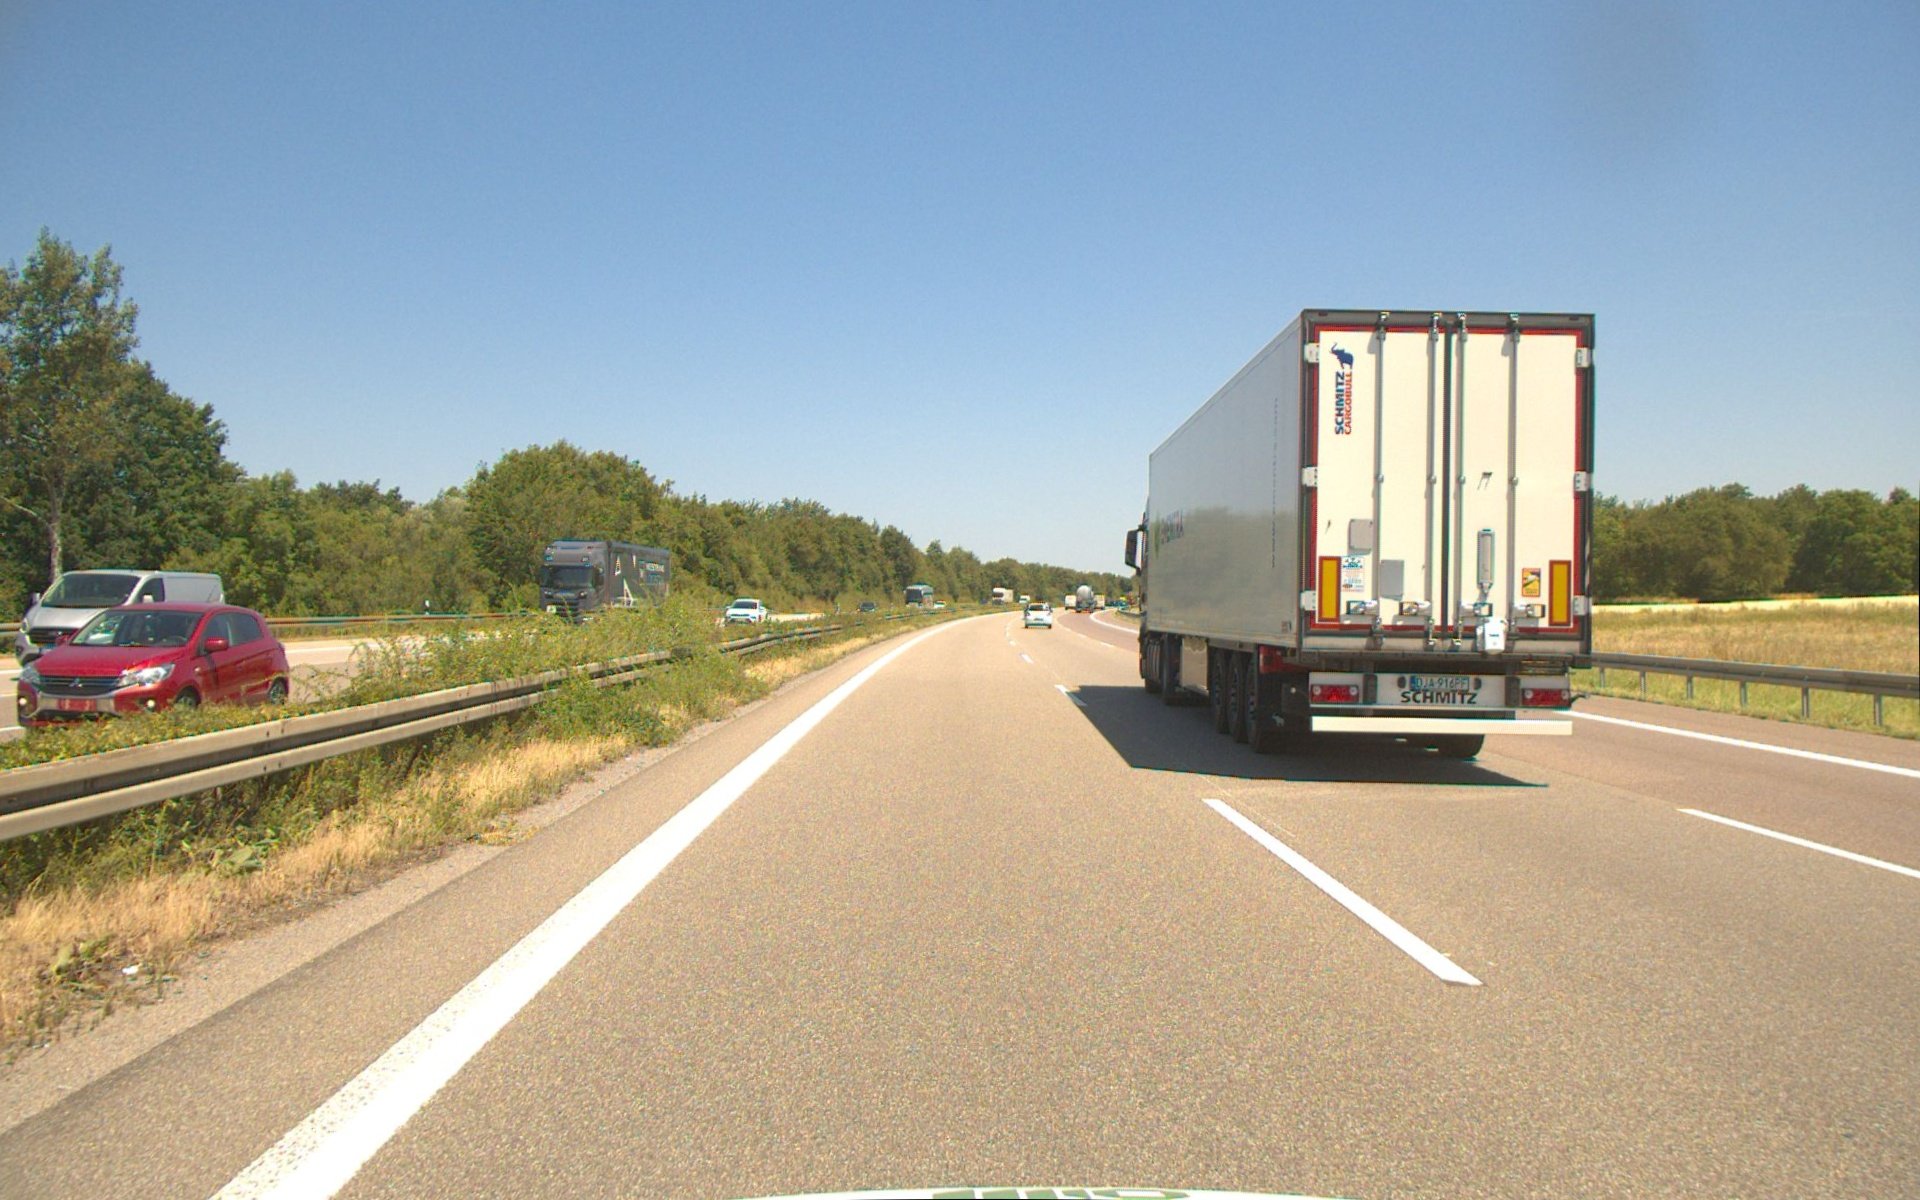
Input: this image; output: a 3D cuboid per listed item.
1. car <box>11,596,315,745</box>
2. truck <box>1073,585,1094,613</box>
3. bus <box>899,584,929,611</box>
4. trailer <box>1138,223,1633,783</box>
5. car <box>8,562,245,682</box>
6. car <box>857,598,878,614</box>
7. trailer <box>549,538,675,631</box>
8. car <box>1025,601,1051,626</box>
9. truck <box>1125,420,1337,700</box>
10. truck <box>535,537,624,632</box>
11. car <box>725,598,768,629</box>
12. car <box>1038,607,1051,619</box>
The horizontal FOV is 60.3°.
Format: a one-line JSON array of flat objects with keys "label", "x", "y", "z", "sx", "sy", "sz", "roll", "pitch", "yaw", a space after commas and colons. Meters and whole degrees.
[{"label": "car", "x": -9.039, "y": 0.734, "z": 19.159, "sx": 1.660, "sy": 1.518, "sz": 4.136, "roll": 0, "pitch": 0, "yaw": -3}, {"label": "truck", "x": 18.558, "y": -0.104, "z": 248.138, "sx": 2.681, "sy": 4.123, "sz": 10.461, "roll": 0, "pitch": 0, "yaw": 7}, {"label": "bus", "x": -6.707, "y": -0.337, "z": 242.086, "sx": 2.683, "sy": 3.772, "sz": 13.009, "roll": 1, "pitch": 0, "yaw": 6}, {"label": "trailer", "x": 4.389, "y": -0.825, "z": 21.122, "sx": 2.841, "sy": 4.739, "sz": 13.987, "roll": 1, "pitch": 0, "yaw": 1}, {"label": "car", "x": -15.808, "y": 0.392, "z": 31.752, "sx": 2.017, "sy": 2.107, "sz": 5.406, "roll": 0, "pitch": 0, "yaw": -3}, {"label": "car", "x": -9.096, "y": 0.618, "z": 163.695, "sx": 1.745, "sy": 1.544, "sz": 4.502, "roll": 0, "pitch": 0, "yaw": 1}, {"label": "trailer", "x": -16.181, "y": -0.649, "z": 78.224, "sx": 2.821, "sy": 4.017, "sz": 14.058, "roll": 0, "pitch": 0, "yaw": 1}, {"label": "car", "x": 4.911, "y": 0.842, "z": 103.569, "sx": 1.593, "sy": 1.505, "sz": 4.002, "roll": 0, "pitch": 0, "yaw": 3}, {"label": "truck", "x": 4.482, "y": -0.623, "z": 28.338, "sx": 2.848, "sy": 4.330, "sz": 4.975, "roll": 1, "pitch": 0, "yaw": 1}, {"label": "truck", "x": -16.283, "y": -0.639, "z": 71.024, "sx": 2.834, "sy": 3.984, "sz": 4.000, "roll": 0, "pitch": 0, "yaw": 1}, {"label": "car", "x": -11.661, "y": 0.724, "z": 90.562, "sx": 1.805, "sy": 1.614, "sz": 4.487, "roll": 0, "pitch": 0, "yaw": -1}, {"label": "car", "x": 10.624, "y": 1.631, "z": 207.299, "sx": 1.593, "sy": 1.505, "sz": 4.001, "roll": 0, "pitch": 0, "yaw": 2}]
